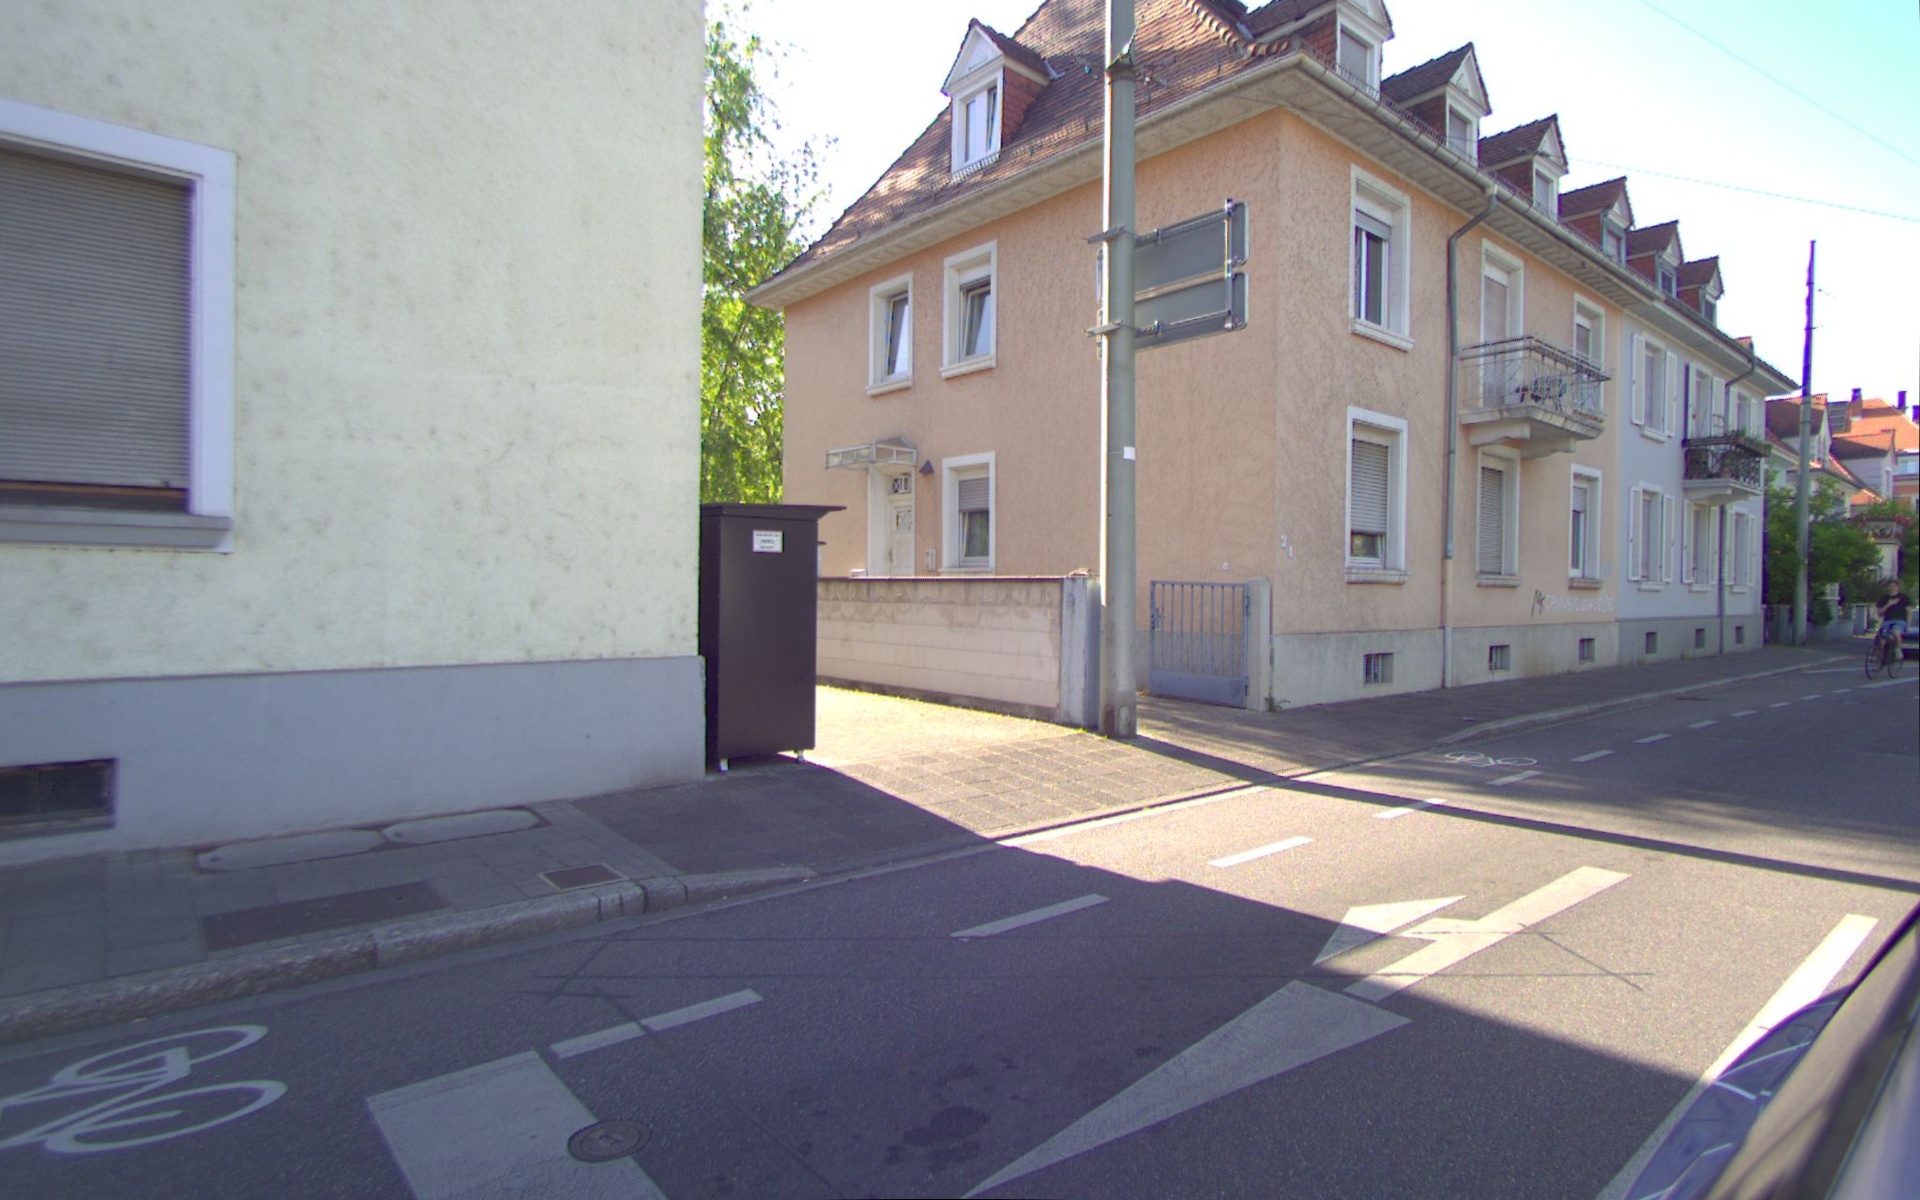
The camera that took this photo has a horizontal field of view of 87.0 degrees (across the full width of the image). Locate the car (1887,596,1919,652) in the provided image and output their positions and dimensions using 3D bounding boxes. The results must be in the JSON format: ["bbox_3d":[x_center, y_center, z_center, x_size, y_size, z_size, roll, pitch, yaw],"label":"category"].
[{"bbox_3d":[26.704,0.630,27.400,4.347,1.425,1.866,0,1,-41],"label":"car"}]

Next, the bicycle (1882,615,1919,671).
[{"bbox_3d":[19.049,0.843,20.358,1.727,1.029,0.533,0,1,-41],"label":"bicycle"}]

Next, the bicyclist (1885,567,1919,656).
[{"bbox_3d":[19.107,0.226,20.381,1.065,1.752,0.561,0,0,-40],"label":"bicyclist"}]
